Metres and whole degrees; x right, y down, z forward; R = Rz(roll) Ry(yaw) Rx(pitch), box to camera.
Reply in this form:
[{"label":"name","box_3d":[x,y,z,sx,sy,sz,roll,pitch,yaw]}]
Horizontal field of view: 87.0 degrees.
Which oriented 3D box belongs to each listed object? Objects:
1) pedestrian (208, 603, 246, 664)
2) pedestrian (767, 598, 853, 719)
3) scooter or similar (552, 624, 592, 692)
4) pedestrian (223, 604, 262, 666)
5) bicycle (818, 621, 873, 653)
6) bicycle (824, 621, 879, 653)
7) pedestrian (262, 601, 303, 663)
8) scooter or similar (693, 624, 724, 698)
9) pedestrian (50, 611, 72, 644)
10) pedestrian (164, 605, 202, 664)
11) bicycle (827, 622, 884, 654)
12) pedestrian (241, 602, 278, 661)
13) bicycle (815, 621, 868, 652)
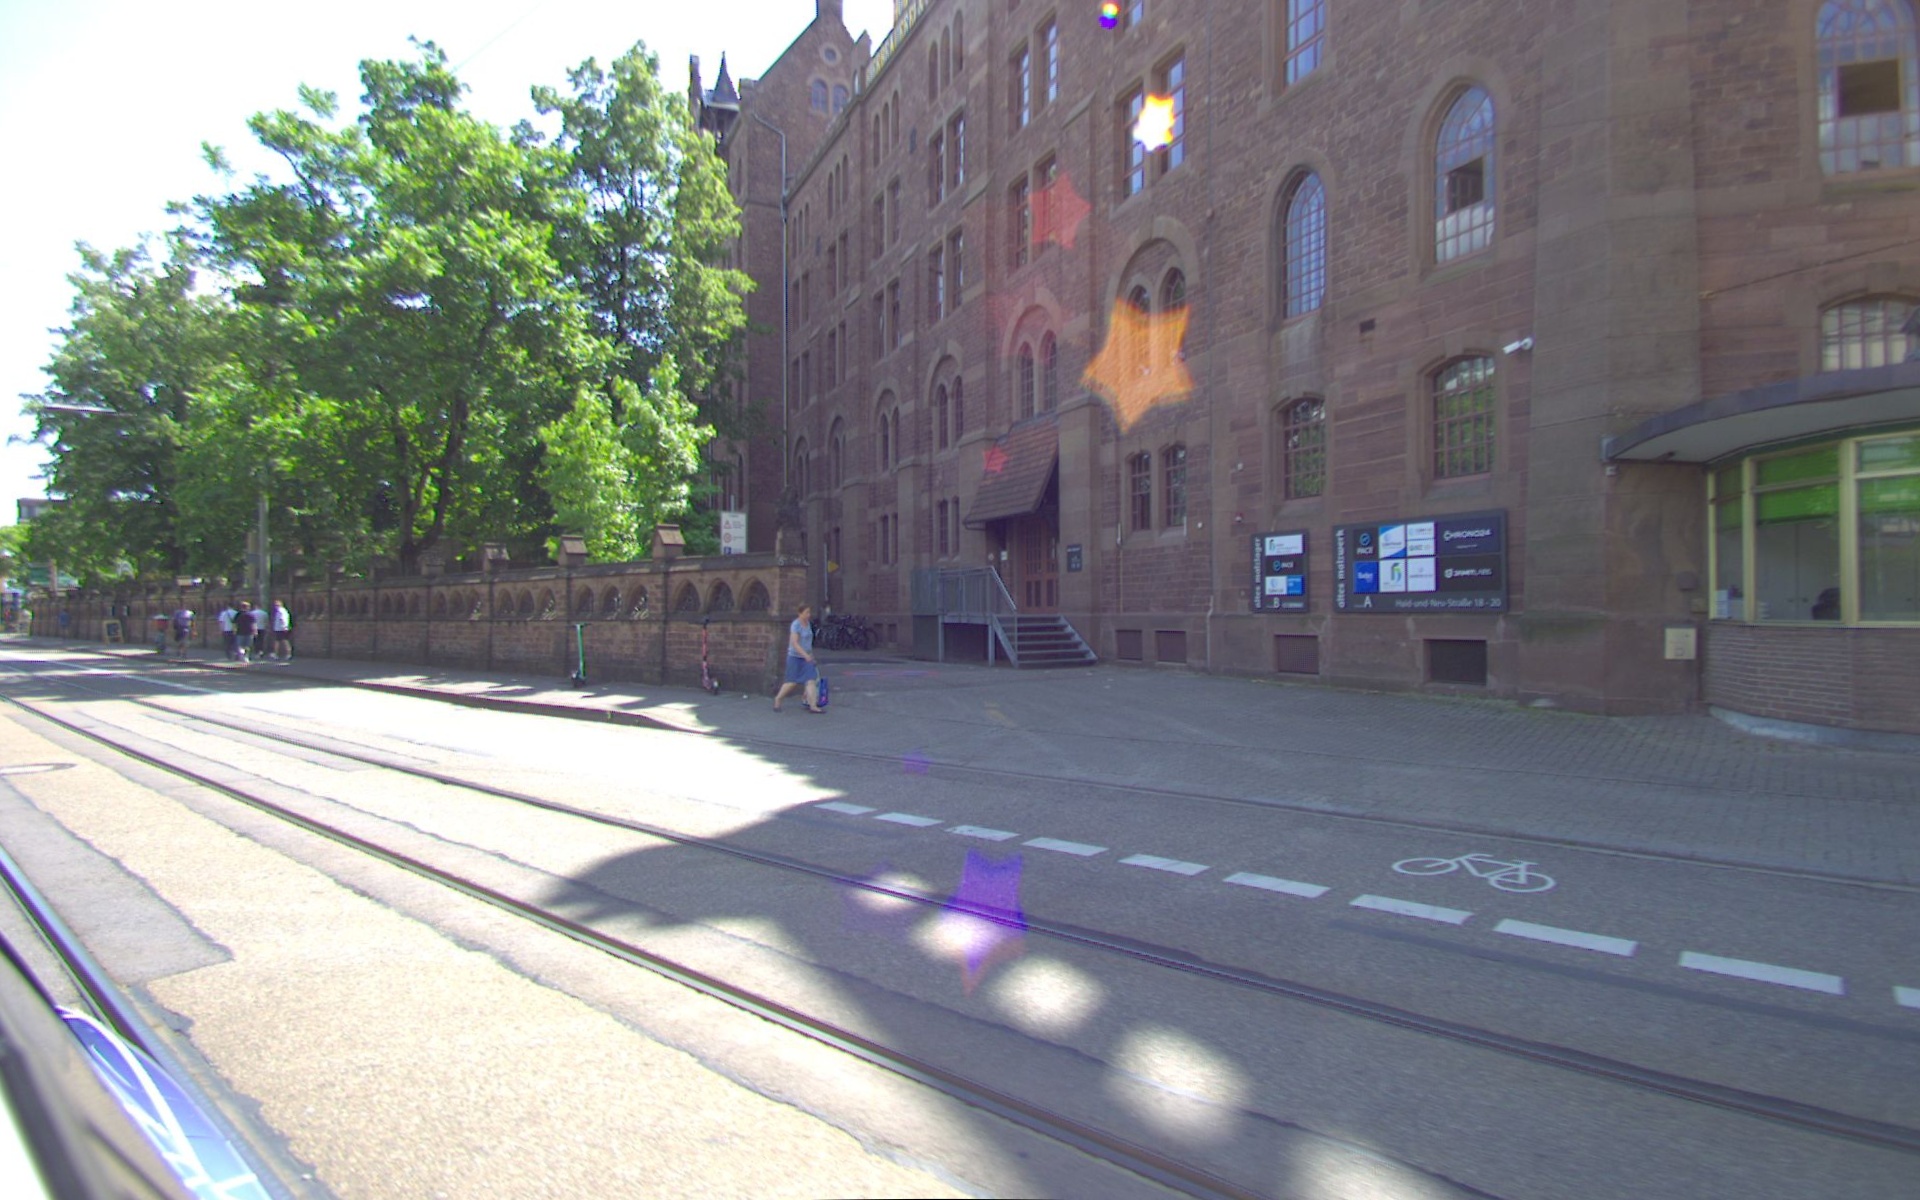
[{"label":"pedestrian","box_3d":[-22.523,1.018,31.101,0.919,1.803,0.670,-1,1,41]},{"label":"pedestrian","box_3d":[-2.130,0.794,14.357,0.919,1.600,0.791,2,4,41]},{"label":"scooter or similar","box_3d":[-7.087,1.036,18.526,0.343,1.135,1.227,-1,1,-6]},{"label":"pedestrian","box_3d":[-20.946,1.005,29.547,0.919,1.761,0.670,-1,1,41]},{"label":"bicycle","box_3d":[-3.852,1.240,34.103,1.753,1.001,0.494,-1,0,-15]},{"label":"bicycle","box_3d":[-3.596,1.221,33.617,1.753,1.001,0.494,-1,0,-15]},{"label":"pedestrian","box_3d":[-20.353,0.943,30.411,0.919,1.790,0.745,-1,1,41]},{"label":"scooter or similar","box_3d":[-4.146,0.984,16.653,0.324,1.135,1.227,-1,0,-21]},{"label":"pedestrian","box_3d":[-50.266,1.539,56.593,0.919,1.761,0.741,-1,1,41]},{"label":"pedestrian","box_3d":[-24.680,1.078,32.131,0.919,1.805,0.714,-1,1,41]},{"label":"bicycle","box_3d":[-3.412,1.232,33.067,1.753,1.001,0.494,-1,0,-15]},{"label":"pedestrian","box_3d":[-22.075,0.993,31.890,0.919,1.790,0.670,-1,1,41]},{"label":"bicycle","box_3d":[-4.065,1.252,34.734,1.753,1.001,0.494,-1,0,-15]}]
